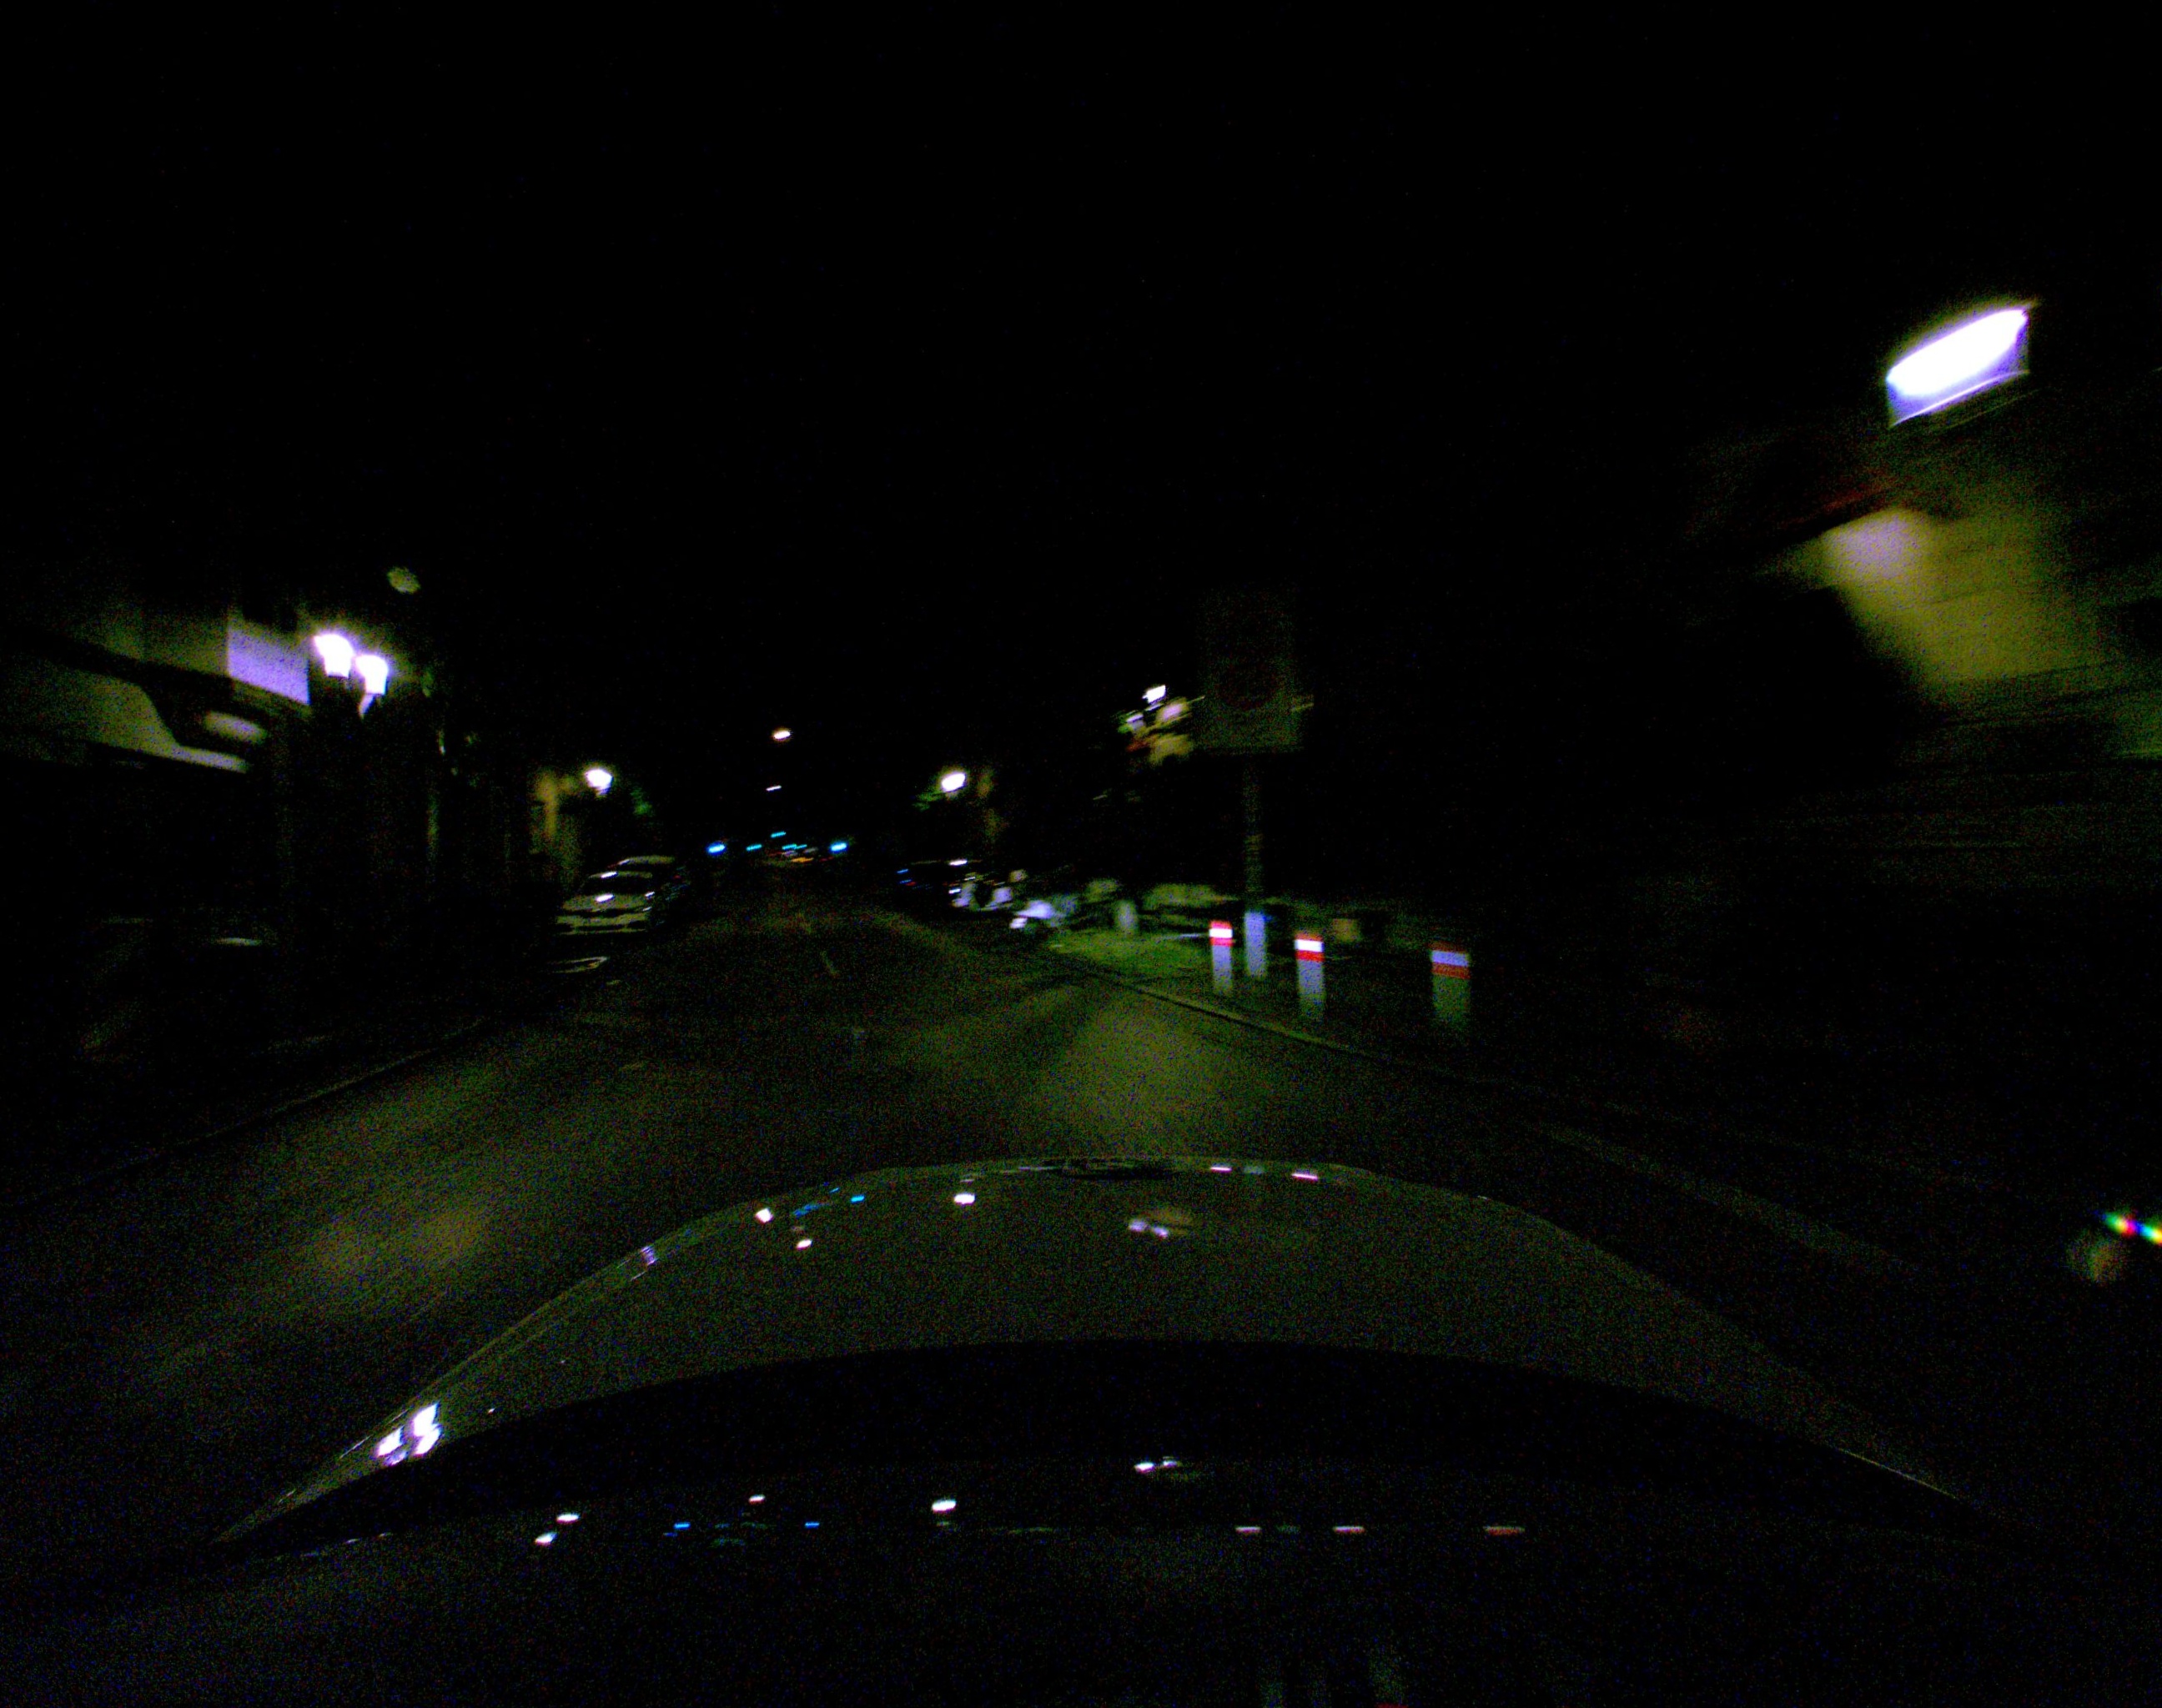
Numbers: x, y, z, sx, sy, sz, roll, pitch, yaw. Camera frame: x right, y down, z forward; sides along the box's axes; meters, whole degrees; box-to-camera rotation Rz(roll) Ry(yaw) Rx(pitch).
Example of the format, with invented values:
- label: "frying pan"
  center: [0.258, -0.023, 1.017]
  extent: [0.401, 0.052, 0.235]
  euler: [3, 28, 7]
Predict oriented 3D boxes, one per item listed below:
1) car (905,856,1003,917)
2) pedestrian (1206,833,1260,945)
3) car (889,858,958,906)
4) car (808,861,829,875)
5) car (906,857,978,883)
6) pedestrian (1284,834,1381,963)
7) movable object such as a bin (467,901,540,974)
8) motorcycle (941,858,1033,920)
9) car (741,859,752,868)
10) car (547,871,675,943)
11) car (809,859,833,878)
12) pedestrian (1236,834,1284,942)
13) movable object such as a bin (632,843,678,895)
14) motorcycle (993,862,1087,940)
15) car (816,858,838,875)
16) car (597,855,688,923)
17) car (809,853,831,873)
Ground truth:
- label: "car"
  center: [-3.702, 0.854, 23.116]
  extent: [1.739, 1.501, 4.434]
  euler: [-2, 0, -22]
- label: "pedestrian"
  center: [2.400, 0.538, 12.915]
  extent: [0.508, 1.709, 0.700]
  euler: [-2, 0, -20]
- label: "car"
  center: [-5.488, 0.919, 28.017]
  extent: [1.742, 1.454, 3.974]
  euler: [-2, 0, -19]
- label: "car"
  center: [-28.243, 1.469, 87.617]
  extent: [1.735, 1.419, 4.289]
  euler: [-1, 0, -24]
- label: "car"
  center: [-8.526, 1.006, 49.894]
  extent: [4.032, 1.422, 1.838]
  euler: [-2, -2, -23]
- label: "pedestrian"
  center: [3.352, 0.566, 10.917]
  extent: [0.809, 1.631, 0.960]
  euler: [-1, -1, -17]
- label: "movable object such as a bin"
  center: [-8.793, 1.248, 12.402]
  extent: [0.617, 1.049, 0.693]
  euler: [-2, -2, 28]
- label: "motorcycle"
  center: [-2.384, 0.863, 20.691]
  extent: [2.066, 1.406, 0.915]
  euler: [-3, 1, -31]
- label: "car"
  center: [-58.323, 1.594, 142.134]
  extent: [1.677, 1.443, 4.175]
  euler: [-1, 1, -21]
- label: "car"
  center: [-11.081, 1.168, 19.565]
  extent: [1.845, 1.450, 4.848]
  euler: [0, -1, -20]
- label: "car"
  center: [-23.129, 1.268, 72.415]
  extent: [1.746, 1.477, 3.972]
  euler: [-4, 1, -21]
- label: "pedestrian"
  center: [2.912, 0.535, 13.266]
  extent: [0.478, 1.709, 0.567]
  euler: [-2, 0, -21]
- label: "movable object such as a bin"
  center: [-22.617, 0.777, 43.366]
  extent: [1.577, 2.626, 3.883]
  euler: [-2, 0, -20]
- label: "motorcycle"
  center: [-0.746, 0.862, 15.670]
  extent: [0.753, 1.353, 1.957]
  euler: [-2, 0, 33]
- label: "car"
  center: [-24.038, 1.152, 77.047]
  extent: [1.692, 1.420, 4.411]
  euler: [-2, 0, -21]
- label: "car"
  center: [-13.349, 0.999, 25.052]
  extent: [1.890, 1.843, 4.779]
  euler: [-1, 0, -22]
- label: "car"
  center: [-26.499, 0.916, 82.697]
  extent: [1.743, 1.855, 4.283]
  euler: [-2, 0, -23]
